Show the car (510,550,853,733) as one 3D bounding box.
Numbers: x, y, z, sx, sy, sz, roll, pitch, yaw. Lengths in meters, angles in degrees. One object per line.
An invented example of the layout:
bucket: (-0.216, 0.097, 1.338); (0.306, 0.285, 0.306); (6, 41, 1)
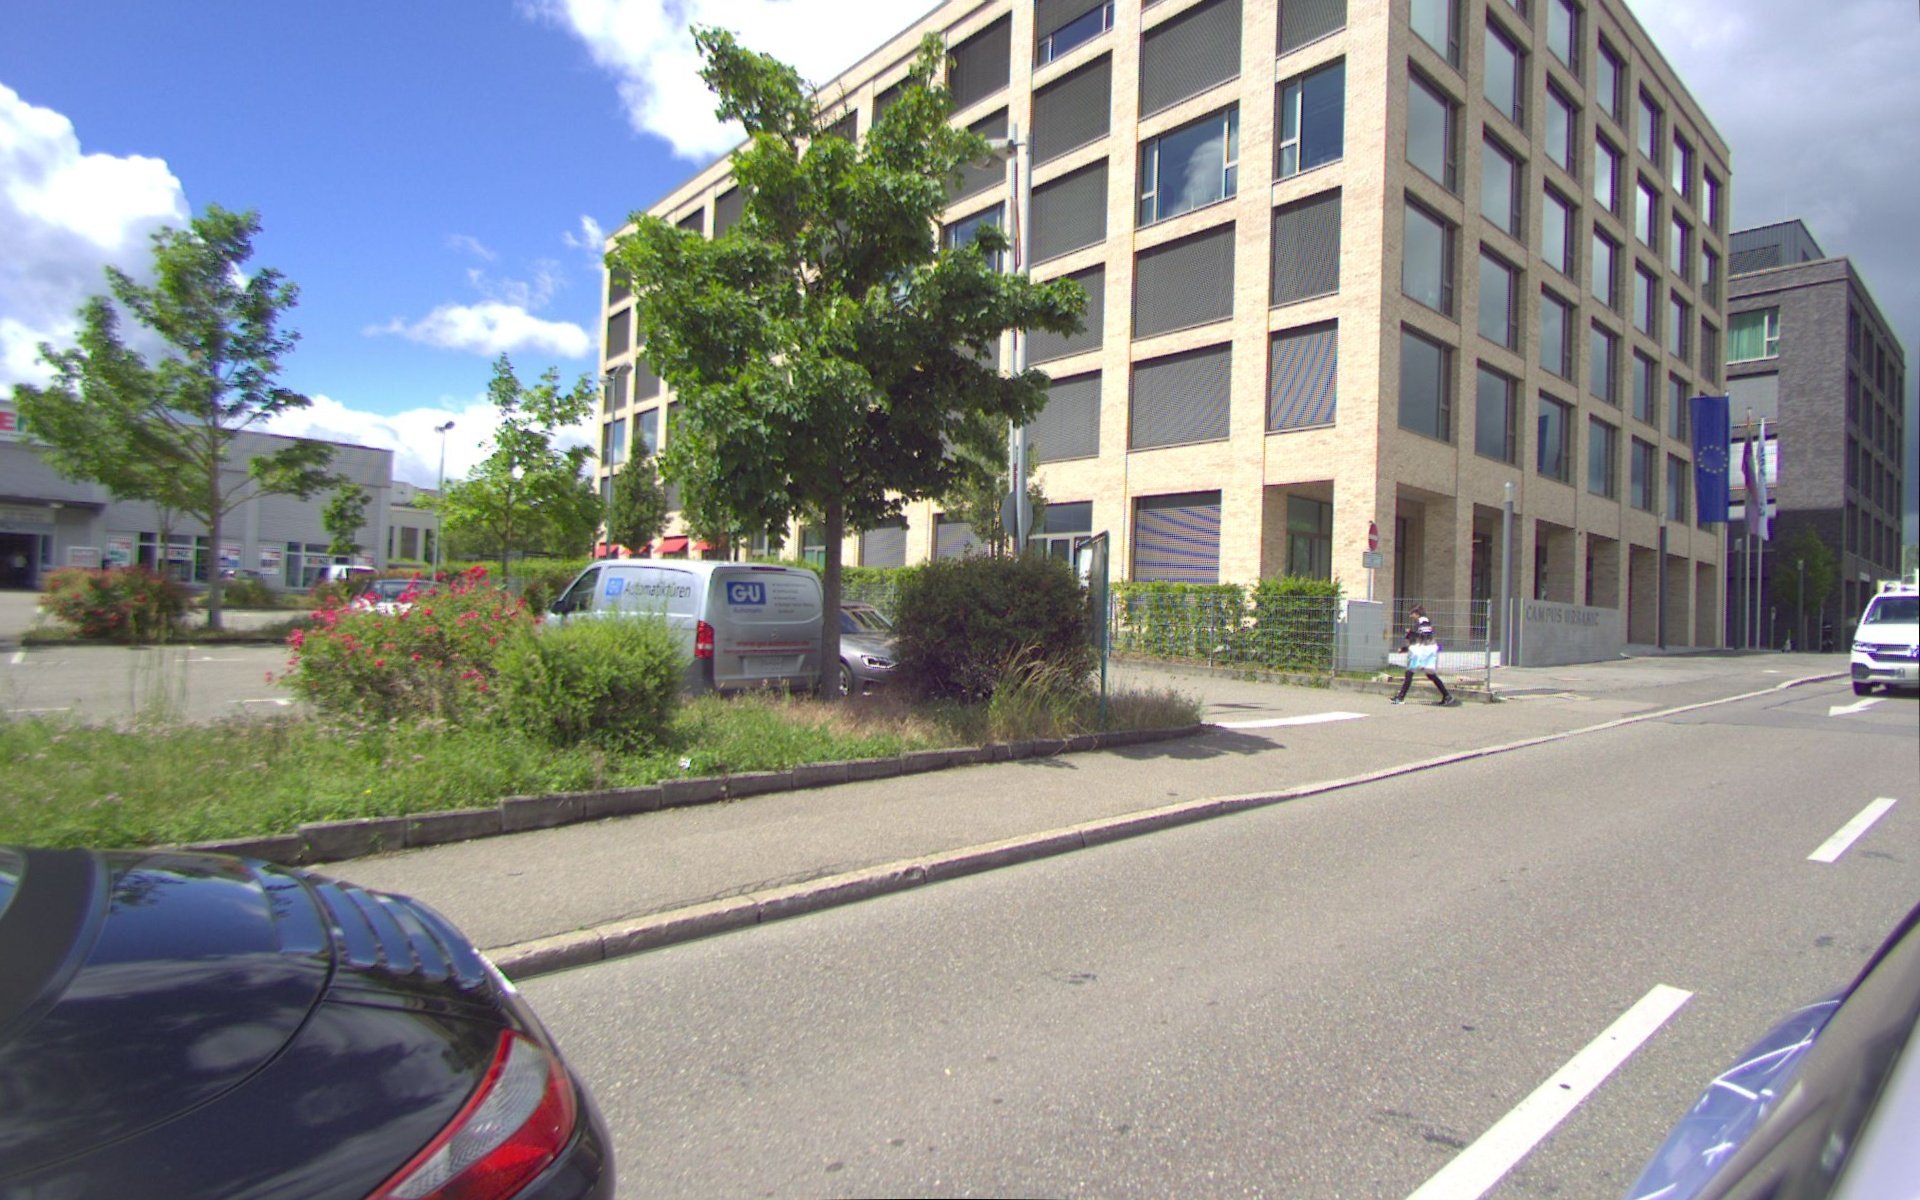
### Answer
car: (-3.697, 0.353, 12.903); (4.707, 1.871, 2.057); (3, 2, 43)

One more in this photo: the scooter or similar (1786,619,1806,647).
scooter or similar: (36.719, 1.446, 44.451); (1.379, 1.167, 0.428); (2, 0, -41)

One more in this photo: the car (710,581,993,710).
car: (-1.742, 0.533, 14.892); (1.965, 1.500, 4.441); (0, 2, -41)

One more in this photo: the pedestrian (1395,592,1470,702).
pedestrian: (6.949, 0.673, 14.885); (0.841, 1.555, 0.688); (2, 0, -41)

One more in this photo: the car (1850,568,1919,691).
car: (18.235, 0.526, 18.662); (4.130, 2.116, 1.936); (1, 1, -38)

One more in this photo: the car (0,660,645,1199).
car: (-2.604, 0.802, 0.661); (1.931, 1.394, 4.140); (1, -1, 44)

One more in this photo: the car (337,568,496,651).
car: (-11.453, 0.138, 21.178); (1.856, 1.510, 4.438); (2, 1, -43)
